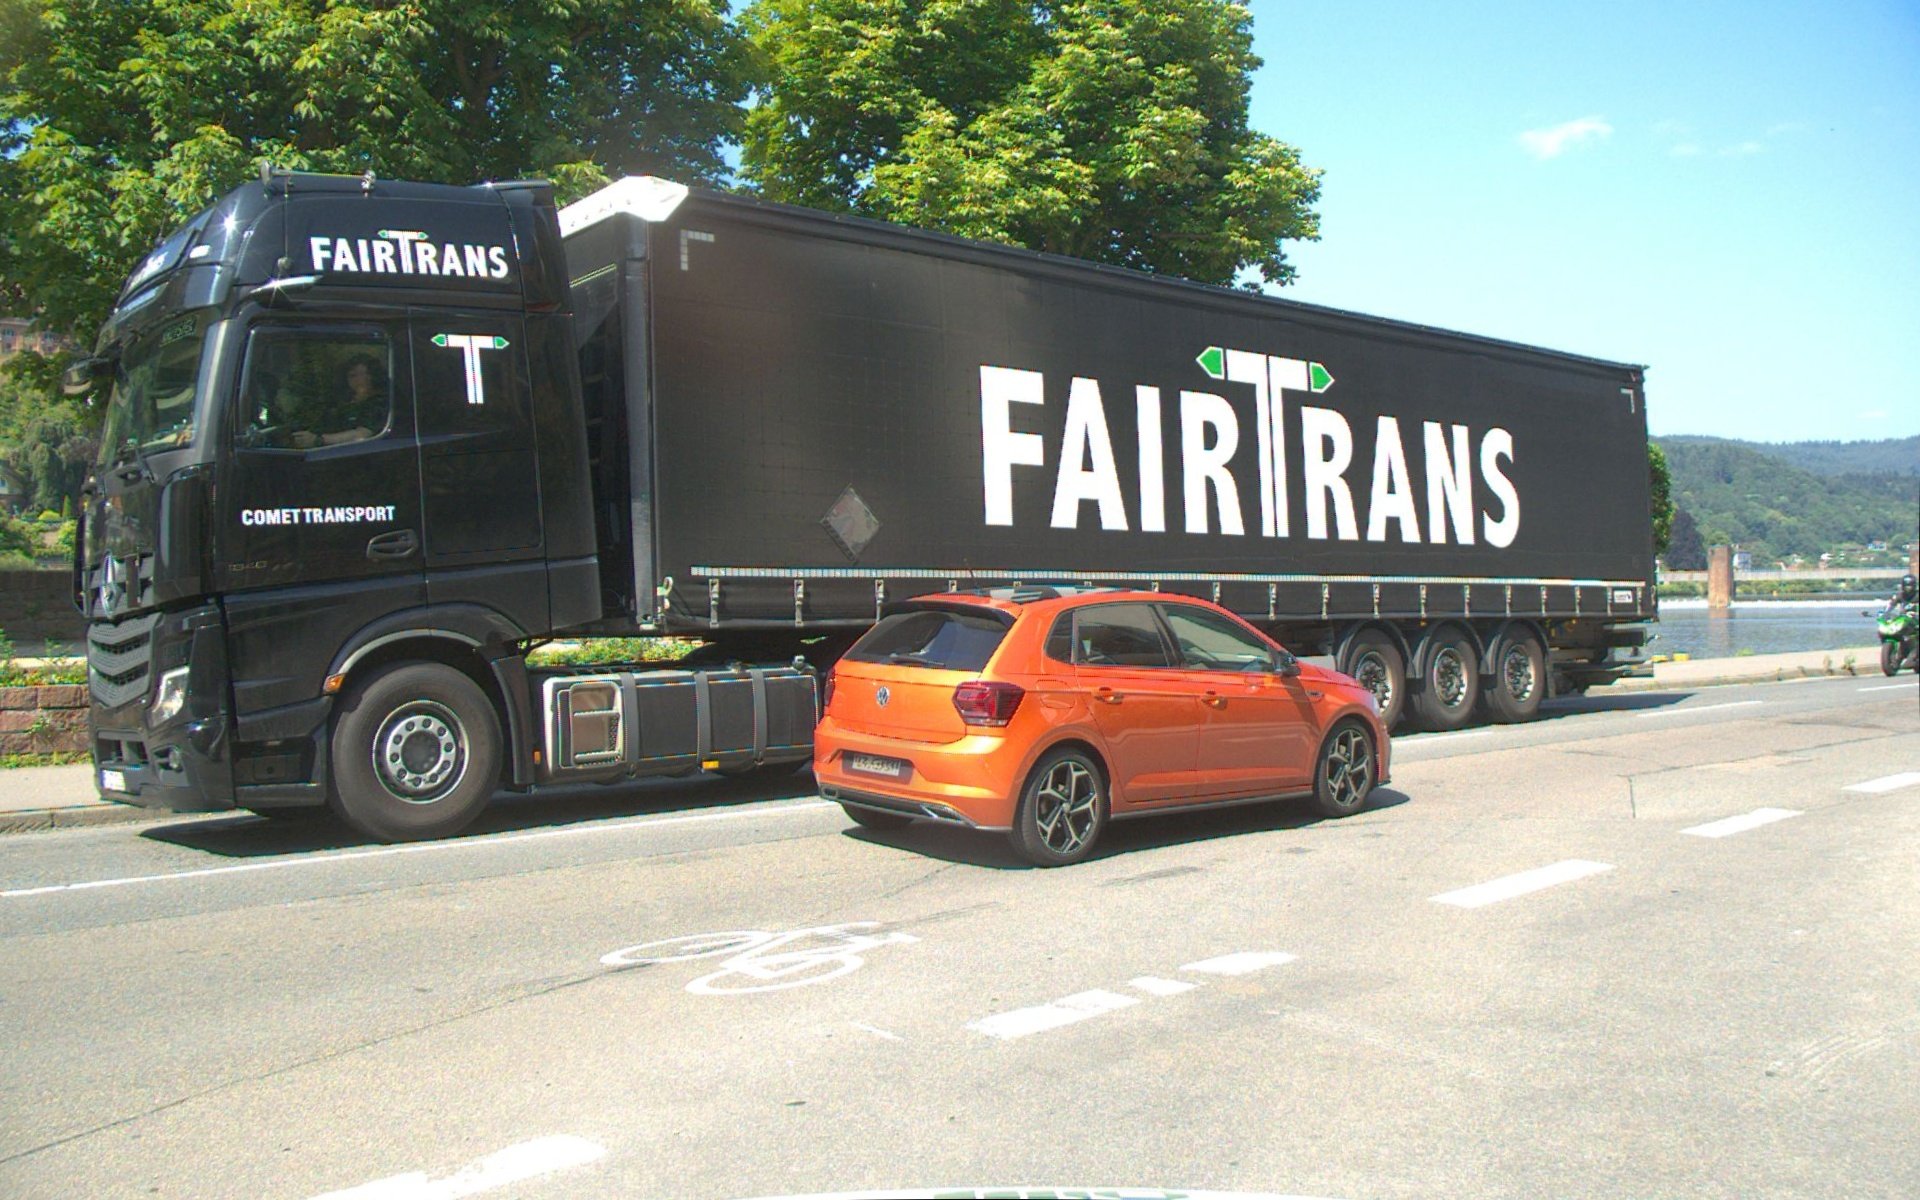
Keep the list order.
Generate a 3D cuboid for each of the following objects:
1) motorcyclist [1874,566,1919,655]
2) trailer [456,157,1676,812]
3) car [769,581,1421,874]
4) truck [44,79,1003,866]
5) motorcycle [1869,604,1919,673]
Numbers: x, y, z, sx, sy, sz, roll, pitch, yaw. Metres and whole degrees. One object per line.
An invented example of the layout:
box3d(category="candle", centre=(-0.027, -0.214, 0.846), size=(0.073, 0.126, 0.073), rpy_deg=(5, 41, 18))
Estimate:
box3d(category="motorcyclist", centre=(16.299, 0.173, 28.365), size=(0.982, 1.486, 0.769), rpy_deg=(0, -2, -41))
box3d(category="trailer", centre=(2.245, -0.775, 16.038), size=(13.644, 4.176, 2.801), rpy_deg=(-1, -2, -41))
box3d(category="car", centre=(0.955, 0.613, 10.065), size=(3.983, 1.430, 1.704), rpy_deg=(-1, 0, -42))
box3d(category="truck", centre=(-2.857, -0.666, 11.670), size=(5.877, 4.143, 2.798), rpy_deg=(-1, -2, -40))
box3d(category="motorcycle", centre=(16.364, 0.644, 28.418), size=(2.074, 1.143, 0.625), rpy_deg=(-1, -2, -42))
